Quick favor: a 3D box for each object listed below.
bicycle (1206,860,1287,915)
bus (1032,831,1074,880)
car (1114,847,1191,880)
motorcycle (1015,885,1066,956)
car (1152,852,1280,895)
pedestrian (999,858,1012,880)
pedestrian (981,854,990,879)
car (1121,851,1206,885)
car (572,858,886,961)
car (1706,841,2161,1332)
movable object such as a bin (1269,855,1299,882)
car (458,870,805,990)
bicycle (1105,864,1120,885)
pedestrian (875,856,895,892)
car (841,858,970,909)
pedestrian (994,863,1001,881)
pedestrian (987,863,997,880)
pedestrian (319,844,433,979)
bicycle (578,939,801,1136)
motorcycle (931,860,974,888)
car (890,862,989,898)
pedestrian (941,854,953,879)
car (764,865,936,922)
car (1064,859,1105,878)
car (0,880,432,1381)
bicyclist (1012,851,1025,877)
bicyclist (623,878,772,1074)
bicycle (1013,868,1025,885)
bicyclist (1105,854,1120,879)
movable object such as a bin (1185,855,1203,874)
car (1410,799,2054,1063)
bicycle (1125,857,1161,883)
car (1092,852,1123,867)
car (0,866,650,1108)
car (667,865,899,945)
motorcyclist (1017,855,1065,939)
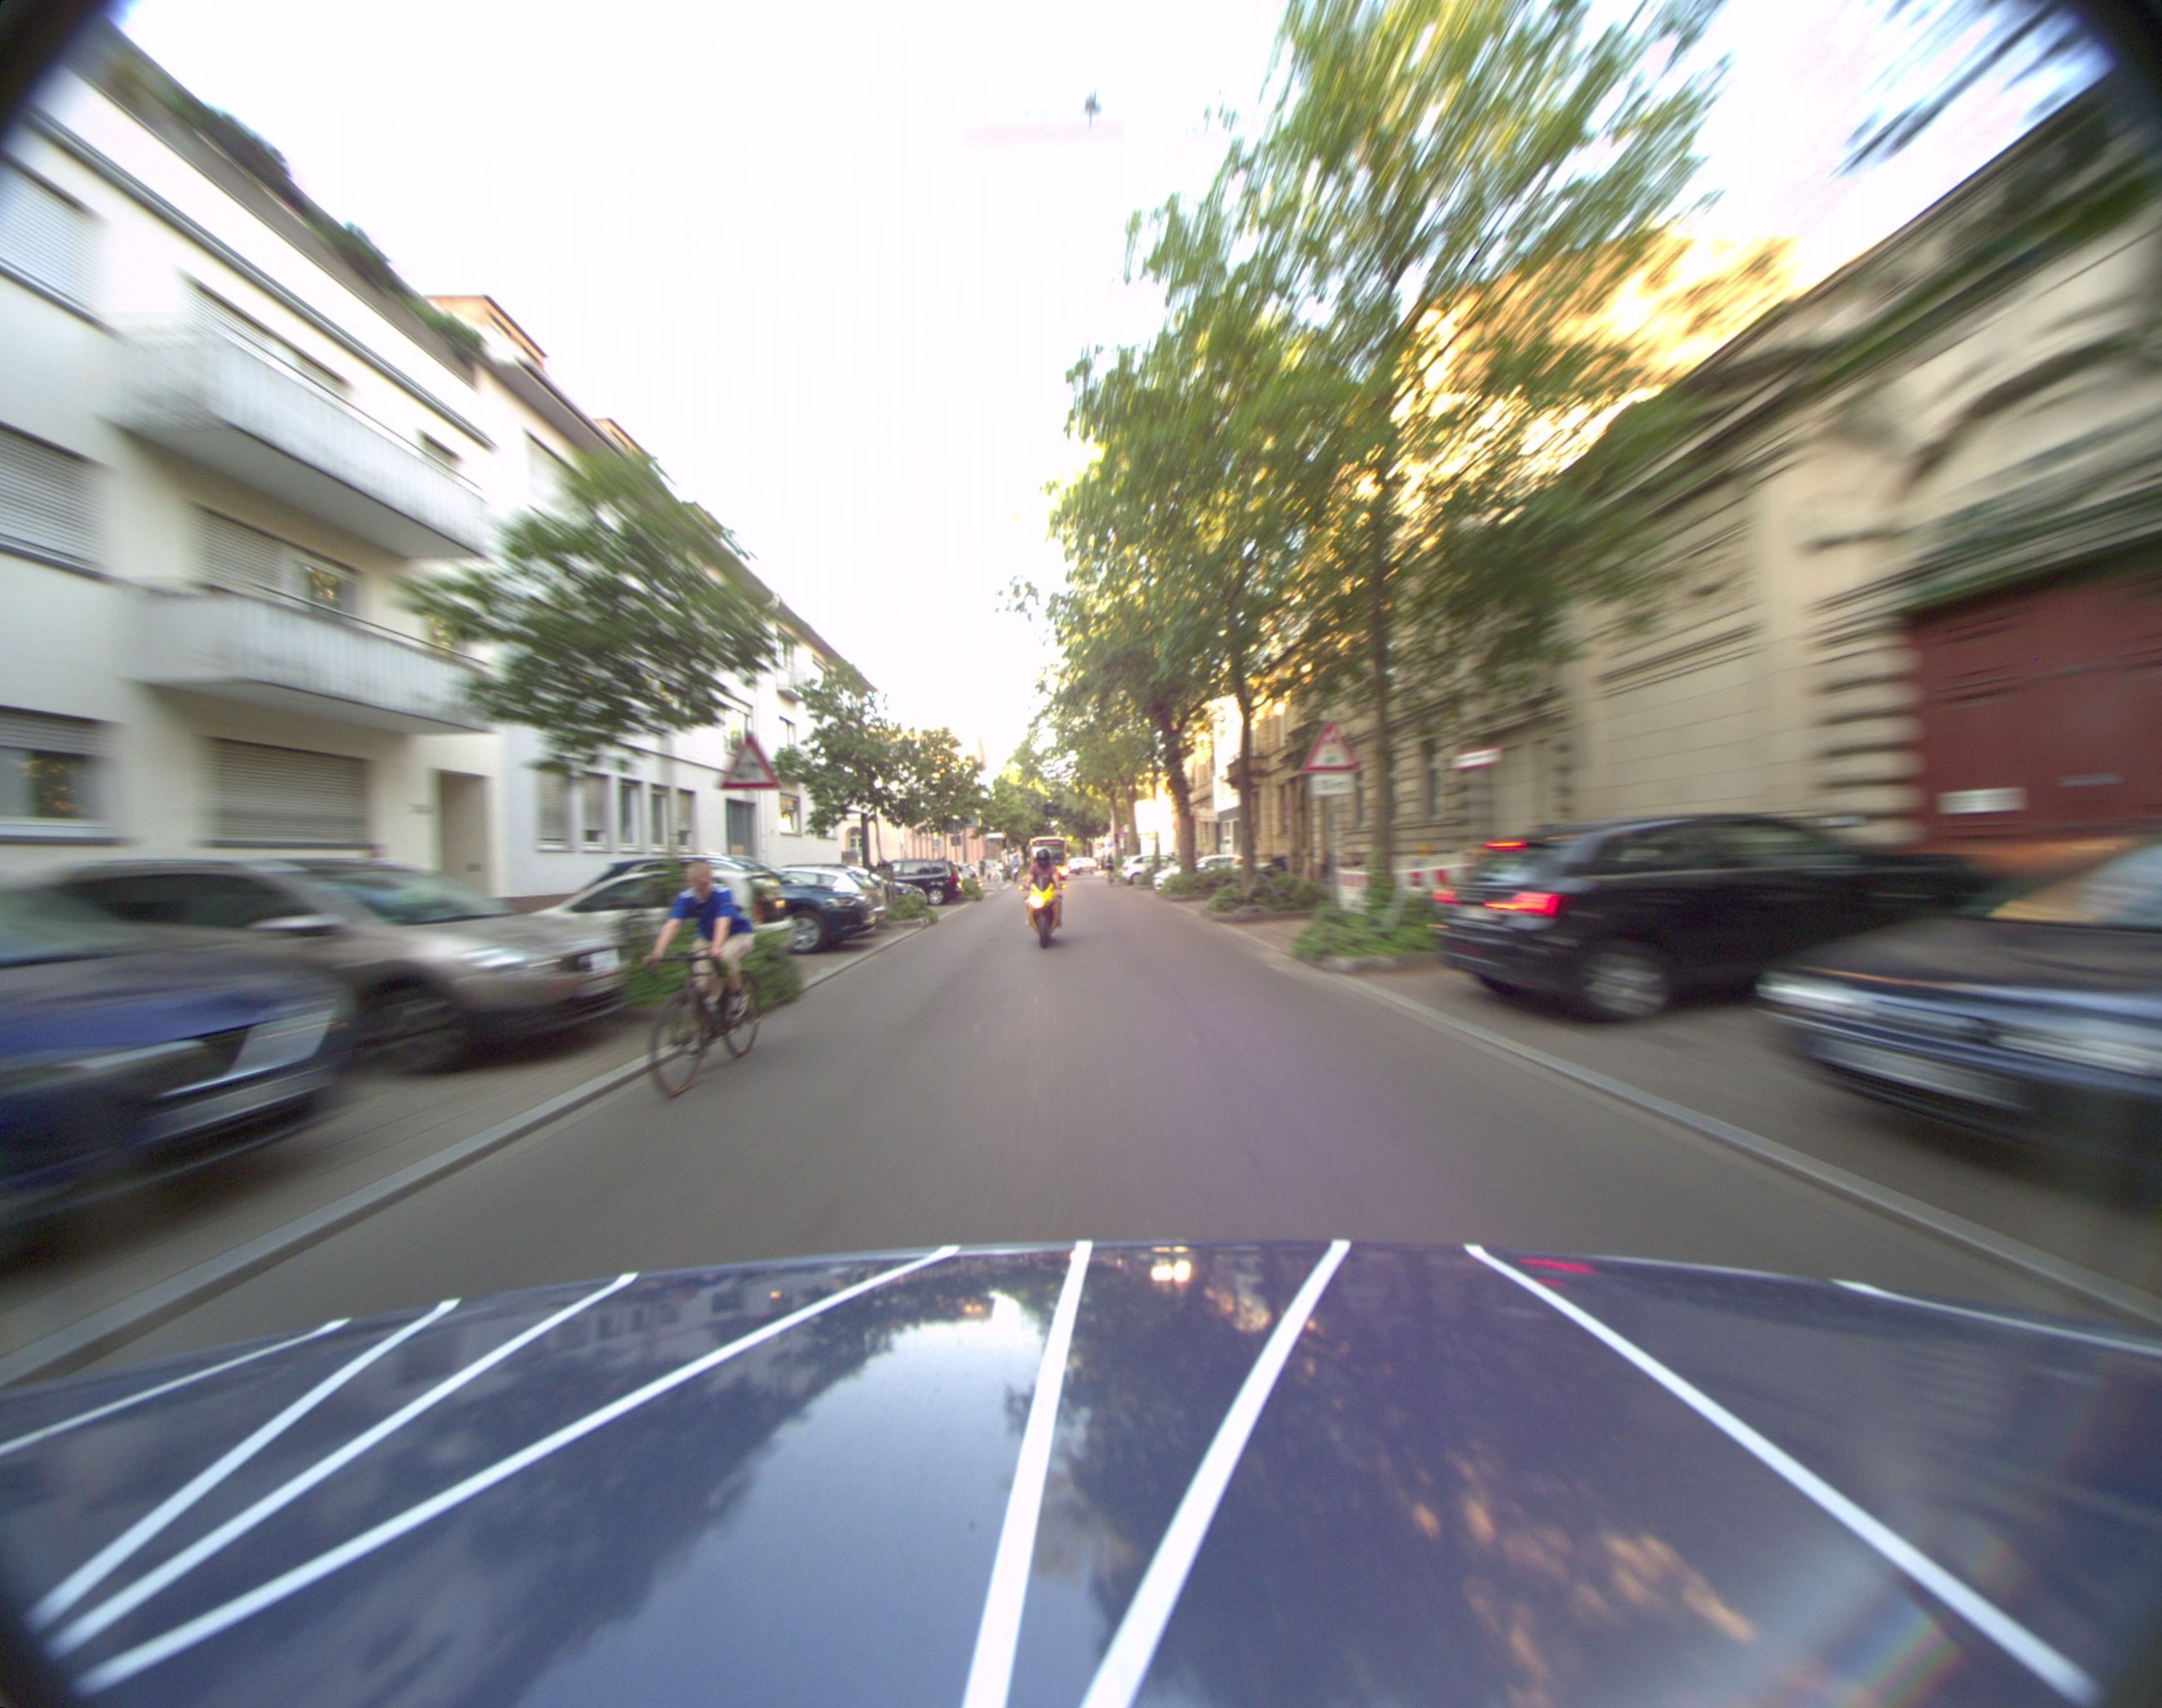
[{"bbox_3d":[3.910,0.789,18.017,1.775,1.225,0.500,-2,2,4],"label":"bicycle"},{"bbox_3d":[-2.072,0.093,57.500,2.668,3.176,11.896,-3,0,-2],"label":"bus"},{"bbox_3d":[4.388,0.570,46.937,4.437,1.712,1.890,-4,0,-3],"label":"car"},{"bbox_3d":[-0.688,1.139,13.544,0.737,1.053,1.964,-3,0,0],"label":"motorcycle"},{"bbox_3d":[5.091,0.720,29.147,4.524,1.382,1.916,-2,0,0],"label":"car"},{"bbox_3d":[-5.127,1.024,51.749,0.600,1.502,0.719,0,0,-30],"label":"pedestrian"},{"bbox_3d":[-6.633,0.851,52.733,0.544,1.764,0.576,0,0,0],"label":"pedestrian"},{"bbox_3d":[4.217,0.698,39.418,4.180,1.548,1.826,-2,0,1],"label":"car"},{"bbox_3d":[-6.005,0.926,13.435,4.603,1.569,1.943,2,0,-2],"label":"car"},{"bbox_3d":[5.298,0.642,3.088,3.975,1.379,1.765,-5,0,0],"label":"car"},{"bbox_3d":[8.411,0.584,31.480,0.803,1.055,1.316,-4,0,-2],"label":"movable object such as a bin"},{"bbox_3d":[-6.091,1.008,10.642,3.803,1.415,1.697,2,0,-2],"label":"car"},{"bbox_3d":[1.625,1.035,38.814,0.673,0.988,1.759,-1,0,4],"label":"bicycle"},{"bbox_3d":[-9.840,1.008,38.257,0.699,1.784,1.065,-1,0,0],"label":"pedestrian"},{"bbox_3d":[-6.157,1.017,27.028,4.120,1.608,1.961,-2,0,-1],"label":"car"},{"bbox_3d":[-5.769,1.230,52.565,0.451,1.254,0.490,0,0,-7],"label":"pedestrian"},{"bbox_3d":[-6.199,1.233,52.986,0.491,1.138,0.547,0,0,36],"label":"pedestrian"},{"bbox_3d":[-9.775,0.774,10.570,0.699,1.784,0.881,-1,0,0],"label":"pedestrian"},{"bbox_3d":[-2.898,1.300,5.905,0.674,1.024,1.977,-3,0,-1],"label":"bicycle"},{"bbox_3d":[-6.606,1.005,39.042,1.910,1.384,1.000,-1,1,12],"label":"motorcycle"},{"bbox_3d":[-6.197,1.120,33.655,3.997,1.429,1.794,-2,0,-1],"label":"car"},{"bbox_3d":[-10.075,0.927,57.114,0.699,1.844,1.049,-1,0,-2],"label":"pedestrian"},{"bbox_3d":[-6.424,1.087,21.530,4.327,1.487,1.793,-1,0,-2],"label":"car"},{"bbox_3d":[0.374,1.334,71.396,1.943,1.561,4.367,-1,1,29],"label":"car"},{"bbox_3d":[-5.747,0.938,3.242,4.167,1.569,1.969,2,0,-3],"label":"car"},{"bbox_3d":[-3.843,0.617,46.545,0.637,1.552,0.818,-4,0,-3],"label":"bicyclist"},{"bbox_3d":[-2.918,0.889,5.855,0.674,1.355,0.776,-3,0,-1],"label":"bicyclist"},{"bbox_3d":[-3.786,1.370,46.487,0.637,0.977,1.981,-4,0,-3],"label":"bicycle"},{"bbox_3d":[1.611,0.633,38.815,0.673,1.256,0.648,-1,0,4],"label":"bicyclist"},{"bbox_3d":[6.449,0.584,43.444,0.777,1.055,1.316,-2,0,-2],"label":"movable object such as a bin"},{"bbox_3d":[5.286,0.568,6.579,3.975,1.587,1.780,-6,1,-1],"label":"car"},{"bbox_3d":[3.335,0.854,40.962,1.800,1.319,0.773,-2,0,-7],"label":"bicycle"},{"bbox_3d":[3.680,0.783,105.721,4.000,1.940,1.998,-2,0,-9],"label":"car"},{"bbox_3d":[-6.054,0.947,6.187,3.976,1.569,1.851,2,0,-2],"label":"car"},{"bbox_3d":[-6.069,1.015,15.816,4.084,1.421,1.818,2,0,1],"label":"car"},{"bbox_3d":[-0.703,0.747,13.543,0.737,1.404,0.726,-3,1,0],"label":"motorcyclist"}]
